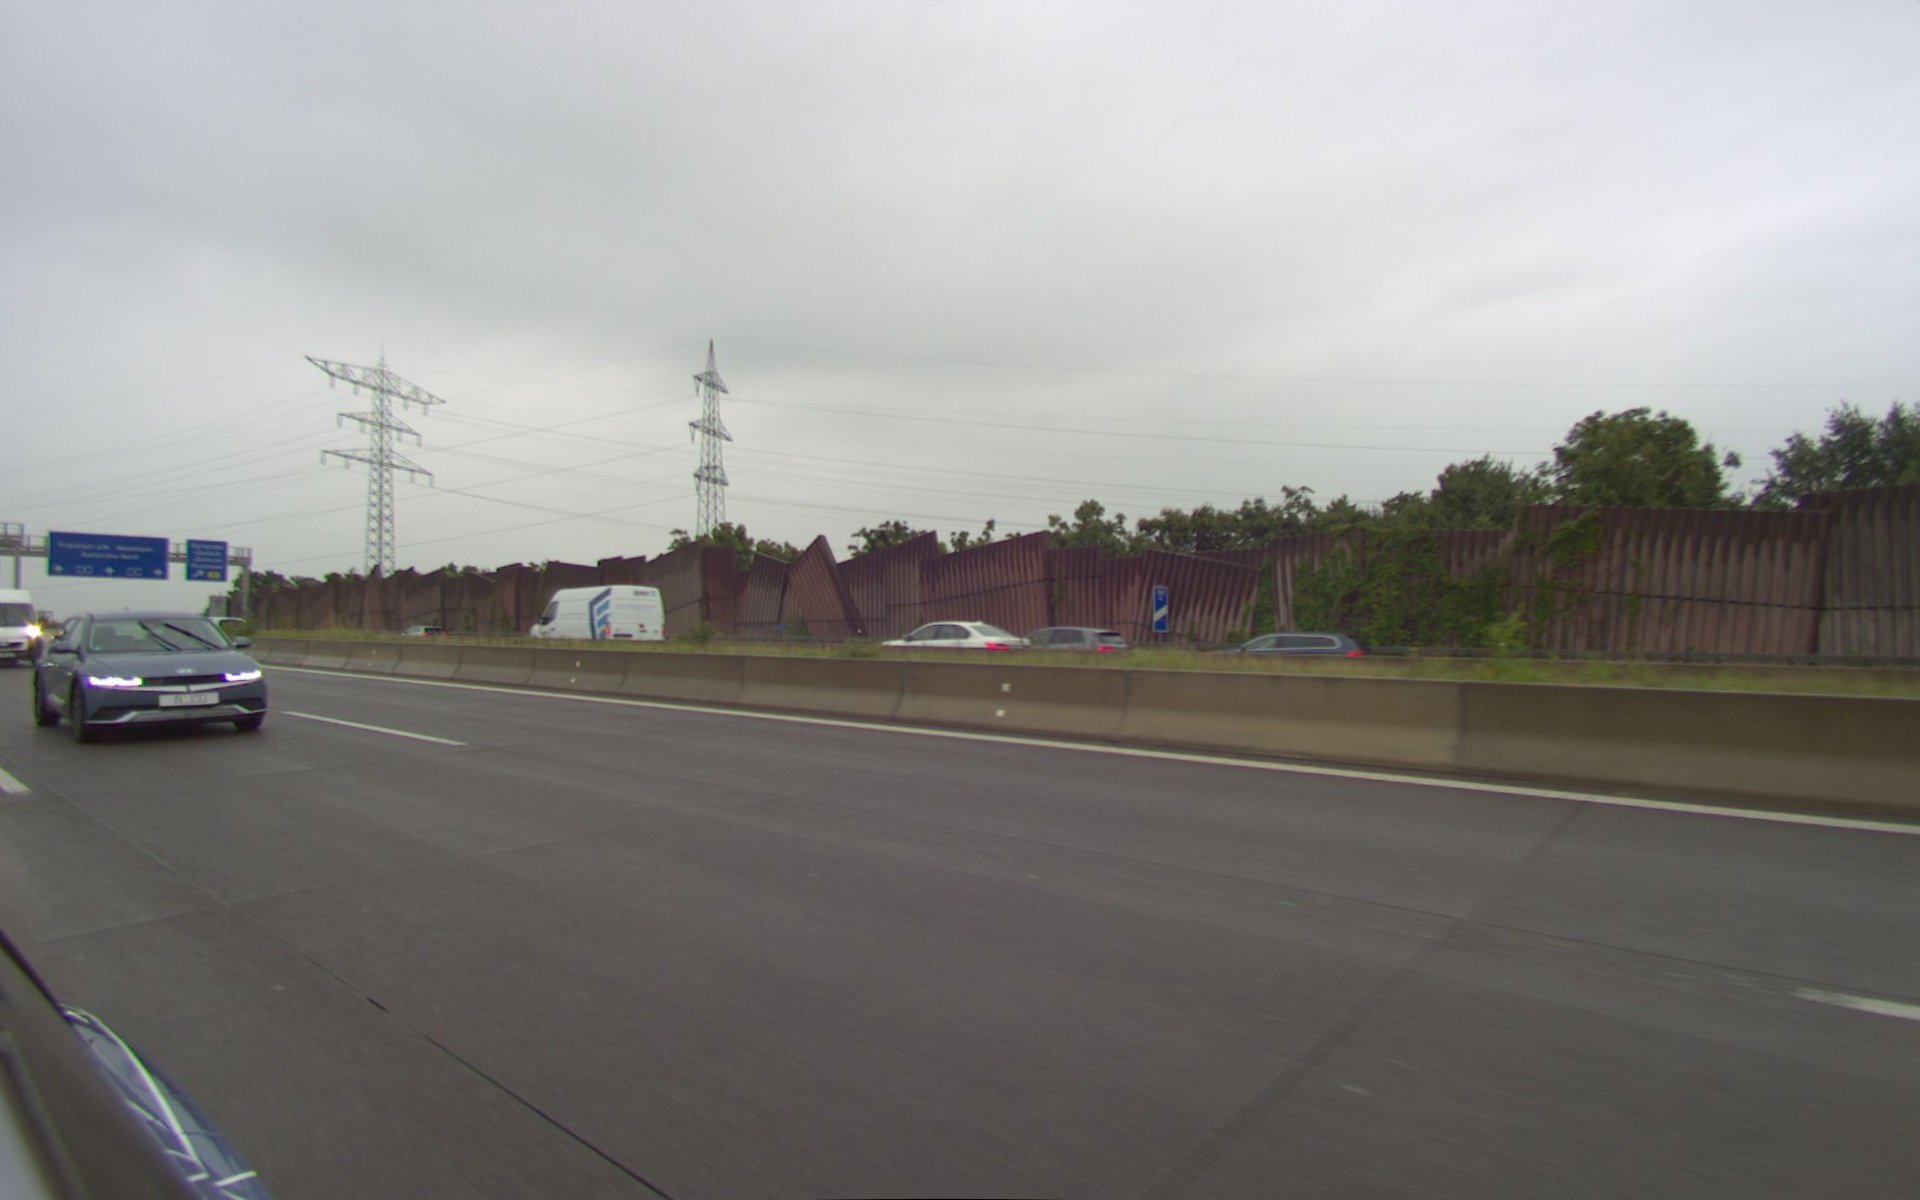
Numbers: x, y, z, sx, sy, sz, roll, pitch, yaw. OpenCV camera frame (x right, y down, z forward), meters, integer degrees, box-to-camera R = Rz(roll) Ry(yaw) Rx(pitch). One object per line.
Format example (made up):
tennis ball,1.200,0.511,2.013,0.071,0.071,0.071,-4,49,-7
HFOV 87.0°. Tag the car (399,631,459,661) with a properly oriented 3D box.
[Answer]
car,-34.064,2.891,64.875,4.287,1.798,1.973,-1,-1,40

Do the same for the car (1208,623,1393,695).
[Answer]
car,9.046,1.507,27.046,4.263,1.752,1.972,-1,-1,42

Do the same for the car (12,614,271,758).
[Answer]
car,-11.263,1.018,13.778,5.152,1.606,1.820,-1,-1,40

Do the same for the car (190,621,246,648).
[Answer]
car,-51.183,2.368,69.763,5.206,1.798,1.973,-1,-1,40

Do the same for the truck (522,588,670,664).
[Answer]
truck,-11.628,0.811,32.131,5.417,2.222,2.122,-1,-1,42

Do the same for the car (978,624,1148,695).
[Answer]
car,2.731,1.543,27.529,4.263,1.752,1.972,-1,-1,42

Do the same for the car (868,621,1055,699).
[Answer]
car,-0.027,1.405,25.076,4.465,1.752,1.972,-1,-1,42

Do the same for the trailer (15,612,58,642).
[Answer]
trailer,-138.263,4.051,151.439,13.561,4.218,3.025,-2,-1,41

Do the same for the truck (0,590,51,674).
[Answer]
truck,-31.202,1.019,32.355,6.576,2.498,2.215,-2,-1,39

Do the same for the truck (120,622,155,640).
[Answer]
truck,-84.147,3.175,103.506,5.014,1.753,1.972,-1,-1,42
